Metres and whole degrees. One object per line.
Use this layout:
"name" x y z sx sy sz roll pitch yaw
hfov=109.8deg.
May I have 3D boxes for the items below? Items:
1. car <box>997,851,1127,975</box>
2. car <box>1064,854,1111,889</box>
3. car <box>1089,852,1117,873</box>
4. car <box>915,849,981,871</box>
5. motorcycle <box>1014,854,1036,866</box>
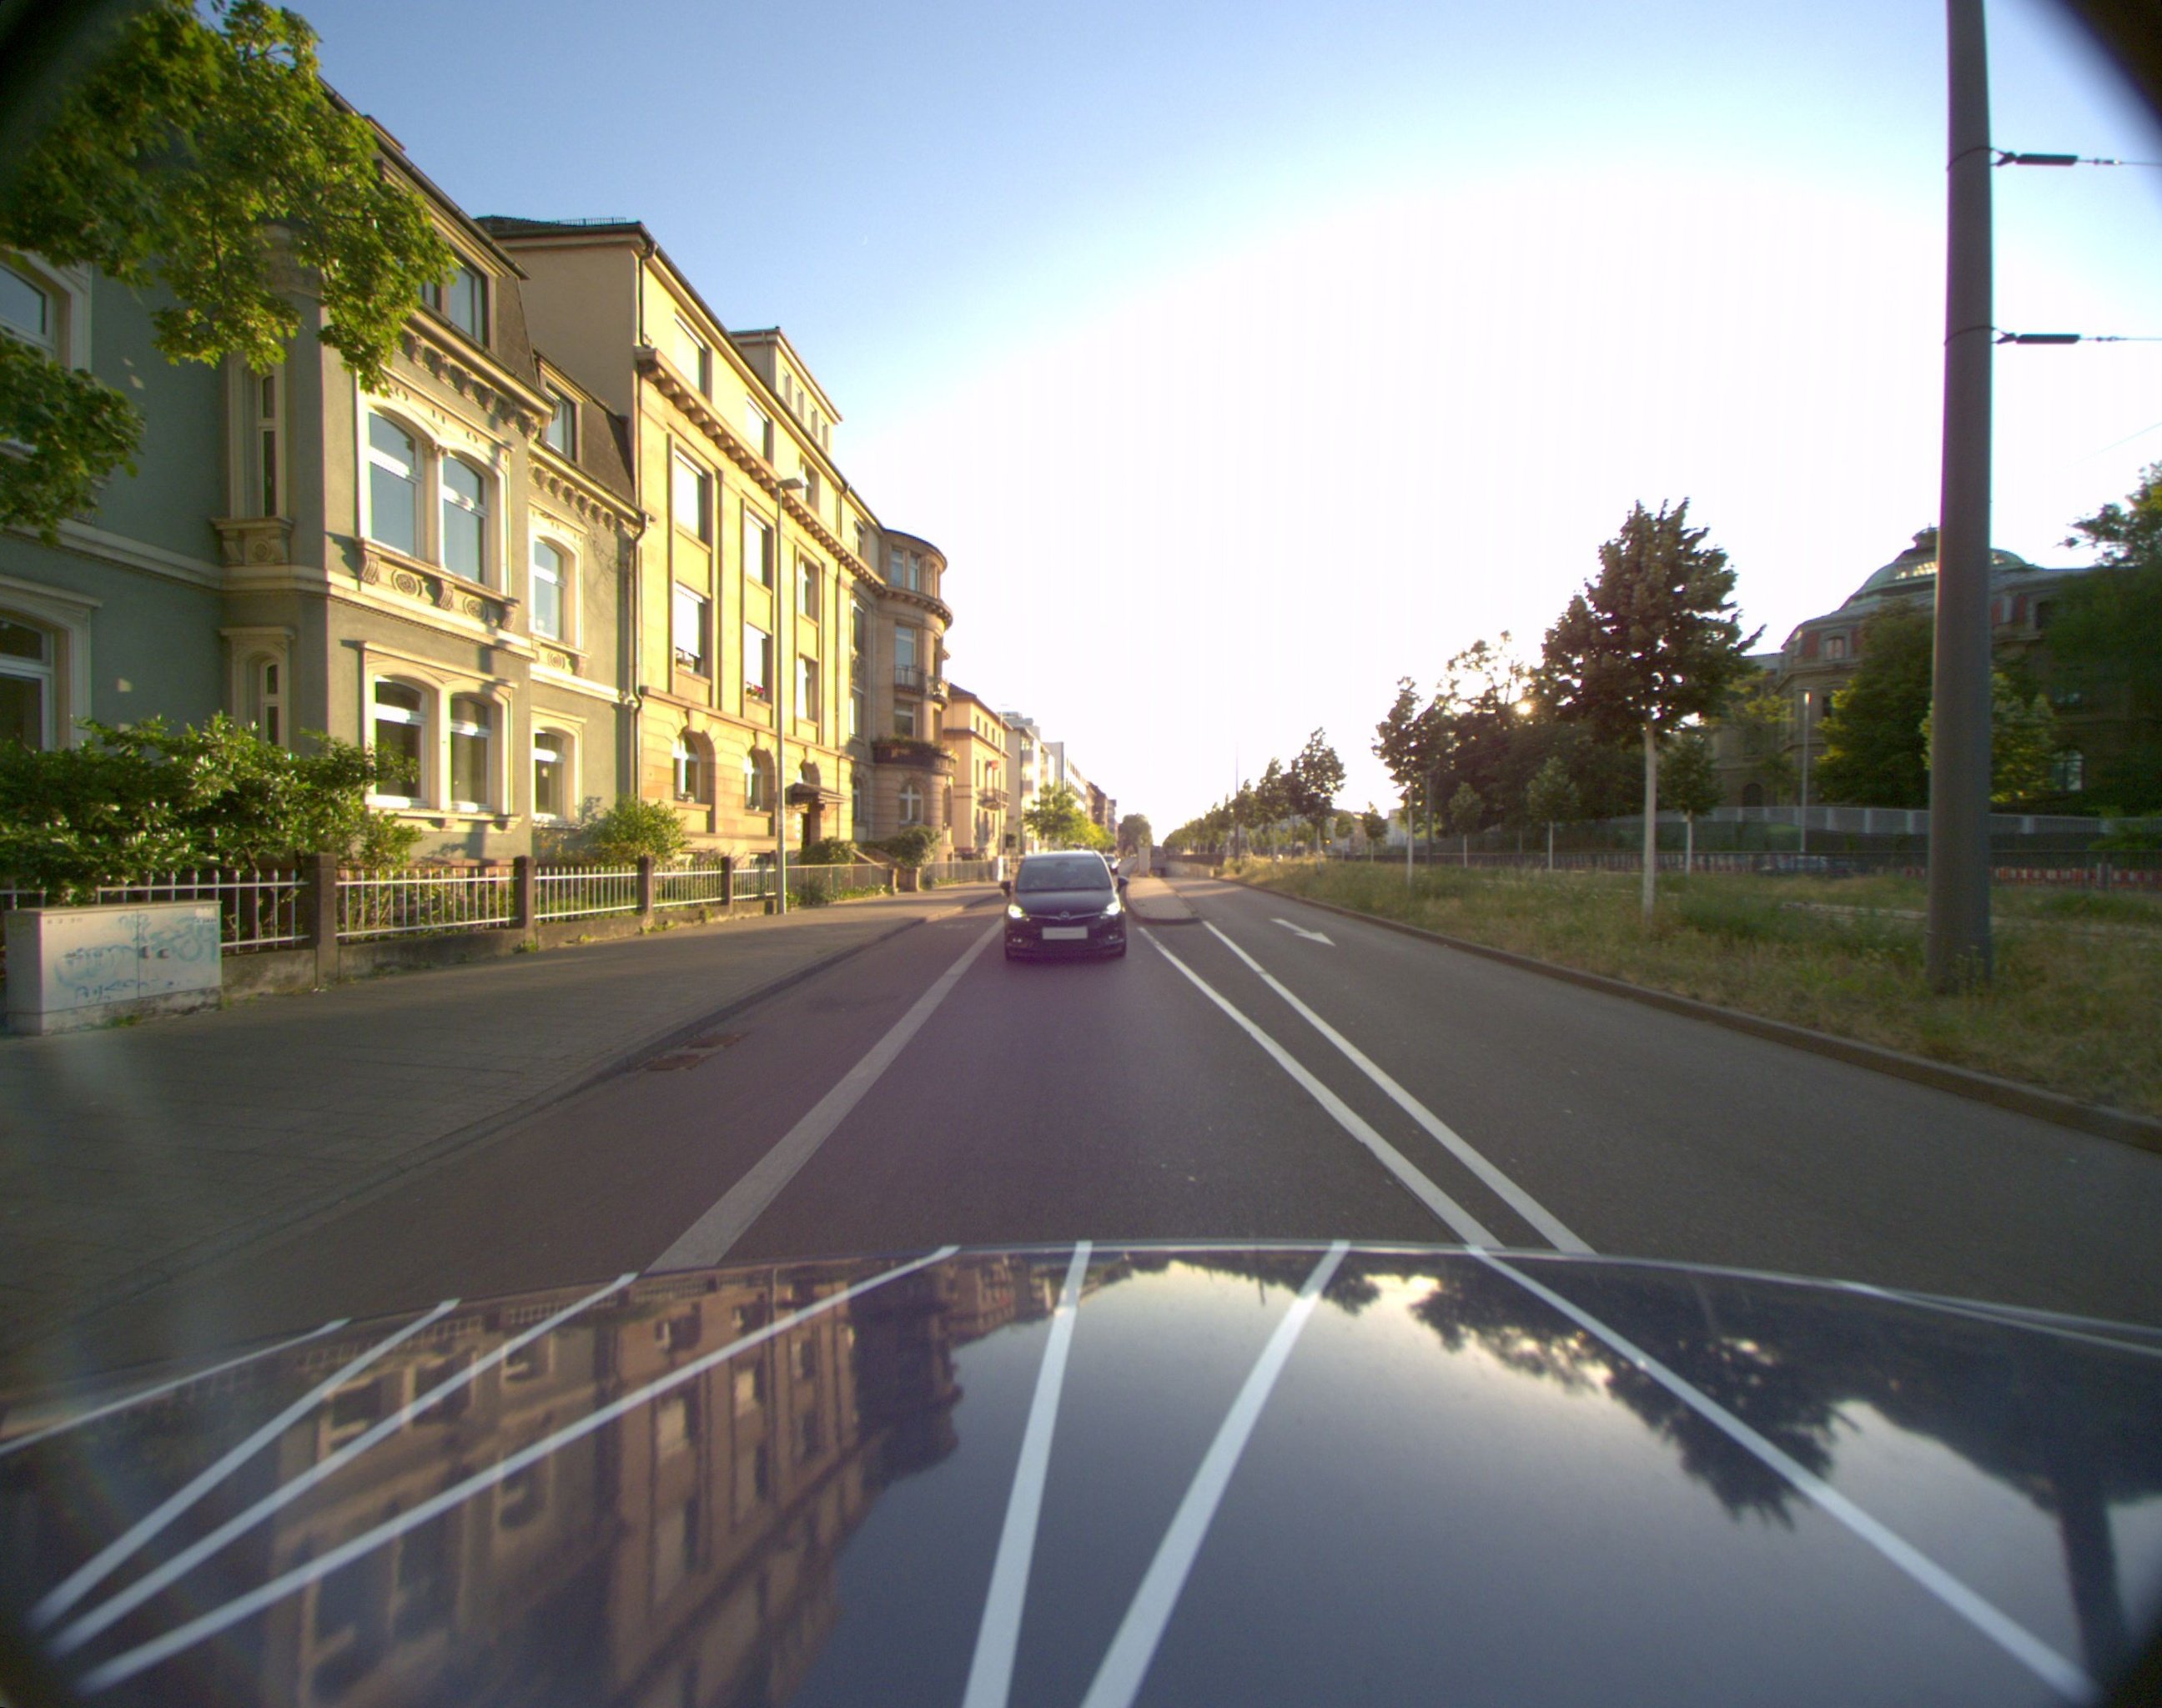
"car" -0.271 0.801 12.874 1.771 1.649 4.851 -1 1 0
"car" 0.350 0.755 34.196 1.859 1.425 4.844 -2 -1 3
"car" 1.666 0.607 55.577 1.859 1.425 4.844 -2 -1 3
"car" -9.177 0.404 52.725 4.096 1.472 1.939 -1 0 5
"motorcycle" -5.072 0.565 68.925 1.847 1.090 0.576 -1 1 10
